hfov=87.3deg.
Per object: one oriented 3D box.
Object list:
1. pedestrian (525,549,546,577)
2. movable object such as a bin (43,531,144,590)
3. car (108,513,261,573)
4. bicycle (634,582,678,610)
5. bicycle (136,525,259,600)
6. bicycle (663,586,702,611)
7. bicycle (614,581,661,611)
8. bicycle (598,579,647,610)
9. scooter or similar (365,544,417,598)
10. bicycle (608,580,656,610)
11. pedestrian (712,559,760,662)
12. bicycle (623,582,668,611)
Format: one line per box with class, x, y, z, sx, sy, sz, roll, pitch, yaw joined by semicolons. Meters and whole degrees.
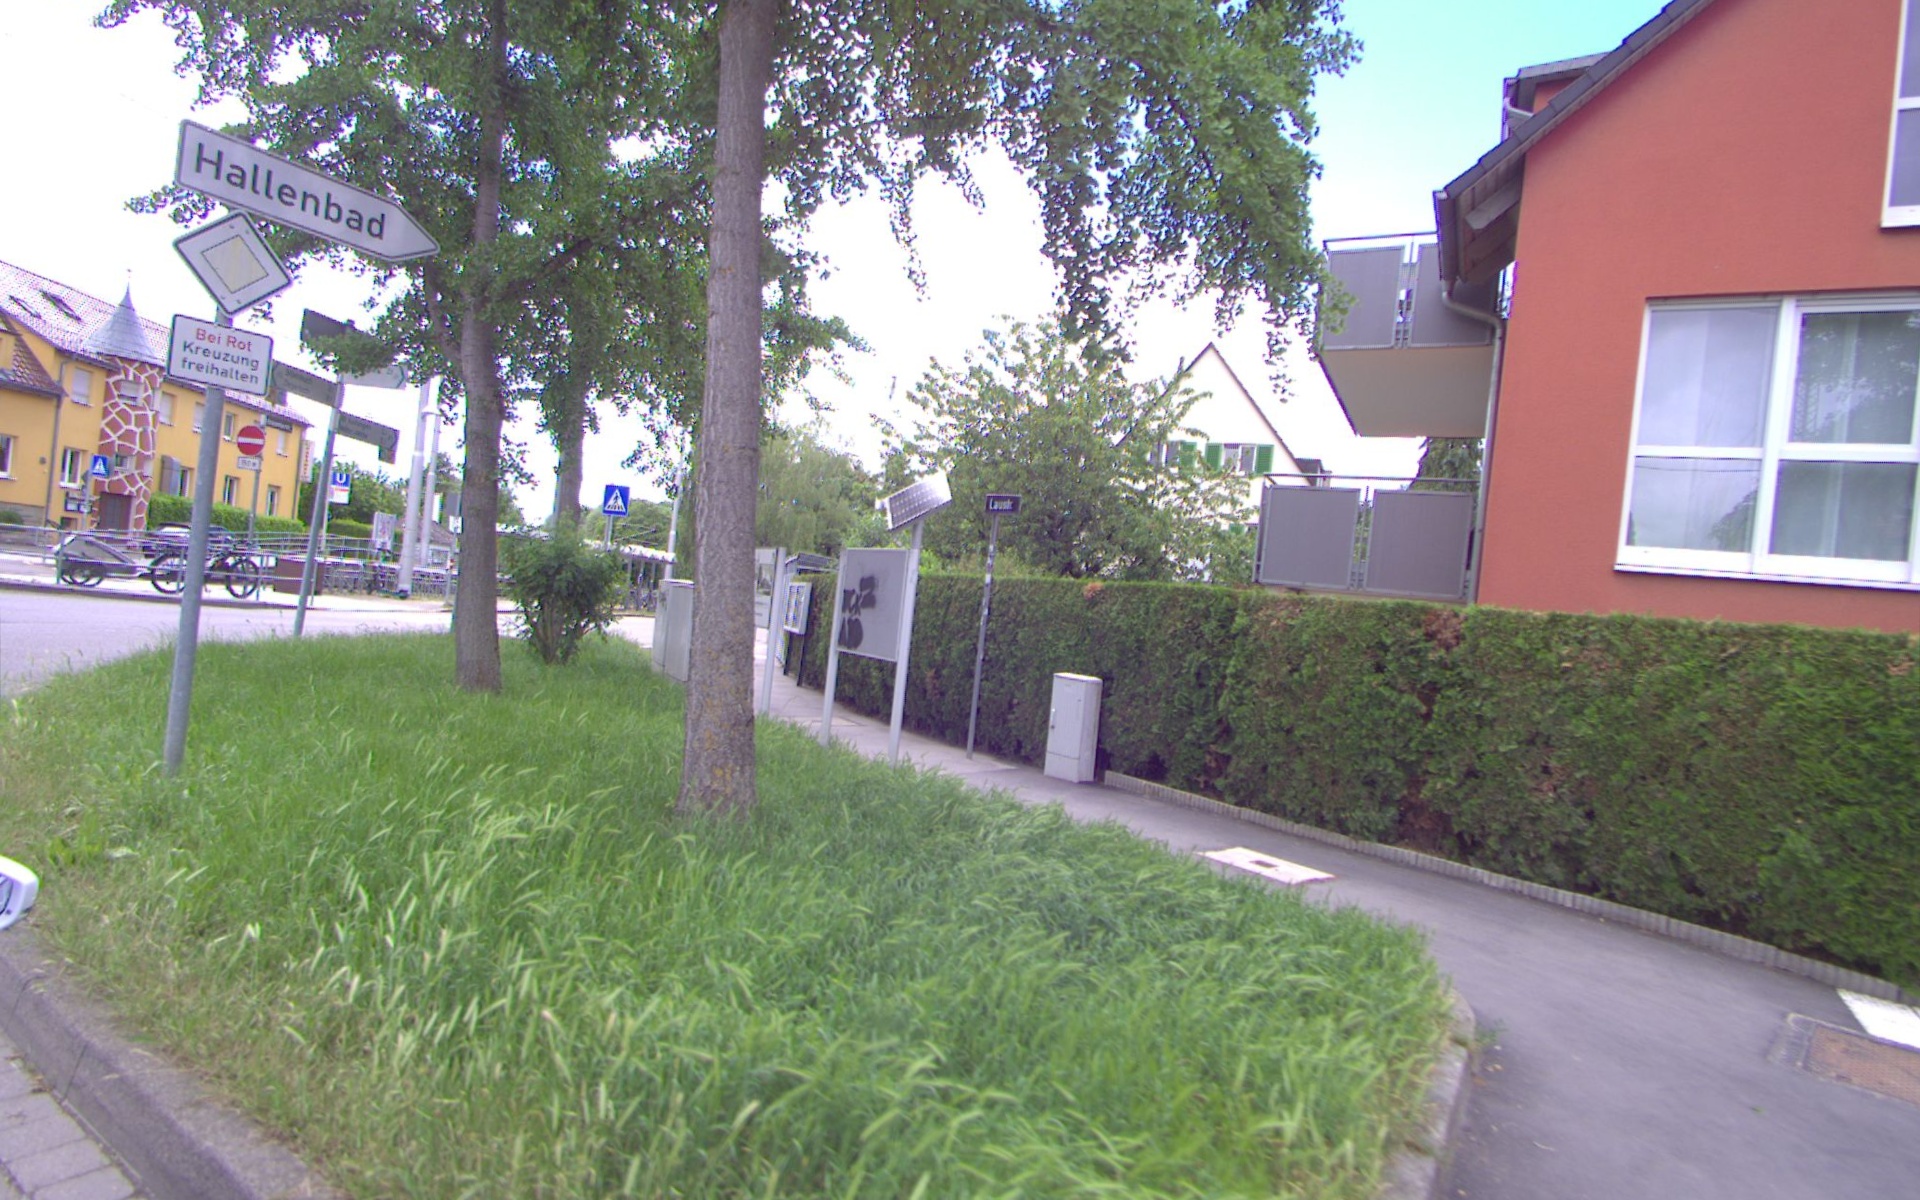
pedestrian;-27.702;-2.385;65.655;0.873;1.691;0.908;6;0;-8
movable object such as a bin;-14.589;-0.661;16.955;0.569;0.834;1.094;6;-1;27
car;-29.358;-2.110;38.308;2.320;1.582;4.374;8;-2;-1
bicycle;-13.853;-0.167;45.876;1.737;1.054;0.557;7;0;2
bicycle;-13.823;-0.660;18.292;0.458;1.170;1.691;6;0;23
bicycle;-14.048;-0.072;50.946;1.740;1.054;0.556;7;0;-8
bicycle;-13.902;-0.178;43.392;1.737;1.054;0.557;7;0;2
bicycle;-14.016;-0.223;41.825;1.737;1.054;0.557;7;0;2
scooter or similar;-15.338;-0.768;27.125;1.031;1.333;0.489;6;1;2
bicycle;-13.917;-0.221;42.680;1.737;1.054;0.557;7;0;2
pedestrian;-4.428;0.200;19.885;0.617;1.939;0.826;6;1;-22
bicycle;-13.840;-0.156;44.291;1.737;1.054;0.557;7;0;2
